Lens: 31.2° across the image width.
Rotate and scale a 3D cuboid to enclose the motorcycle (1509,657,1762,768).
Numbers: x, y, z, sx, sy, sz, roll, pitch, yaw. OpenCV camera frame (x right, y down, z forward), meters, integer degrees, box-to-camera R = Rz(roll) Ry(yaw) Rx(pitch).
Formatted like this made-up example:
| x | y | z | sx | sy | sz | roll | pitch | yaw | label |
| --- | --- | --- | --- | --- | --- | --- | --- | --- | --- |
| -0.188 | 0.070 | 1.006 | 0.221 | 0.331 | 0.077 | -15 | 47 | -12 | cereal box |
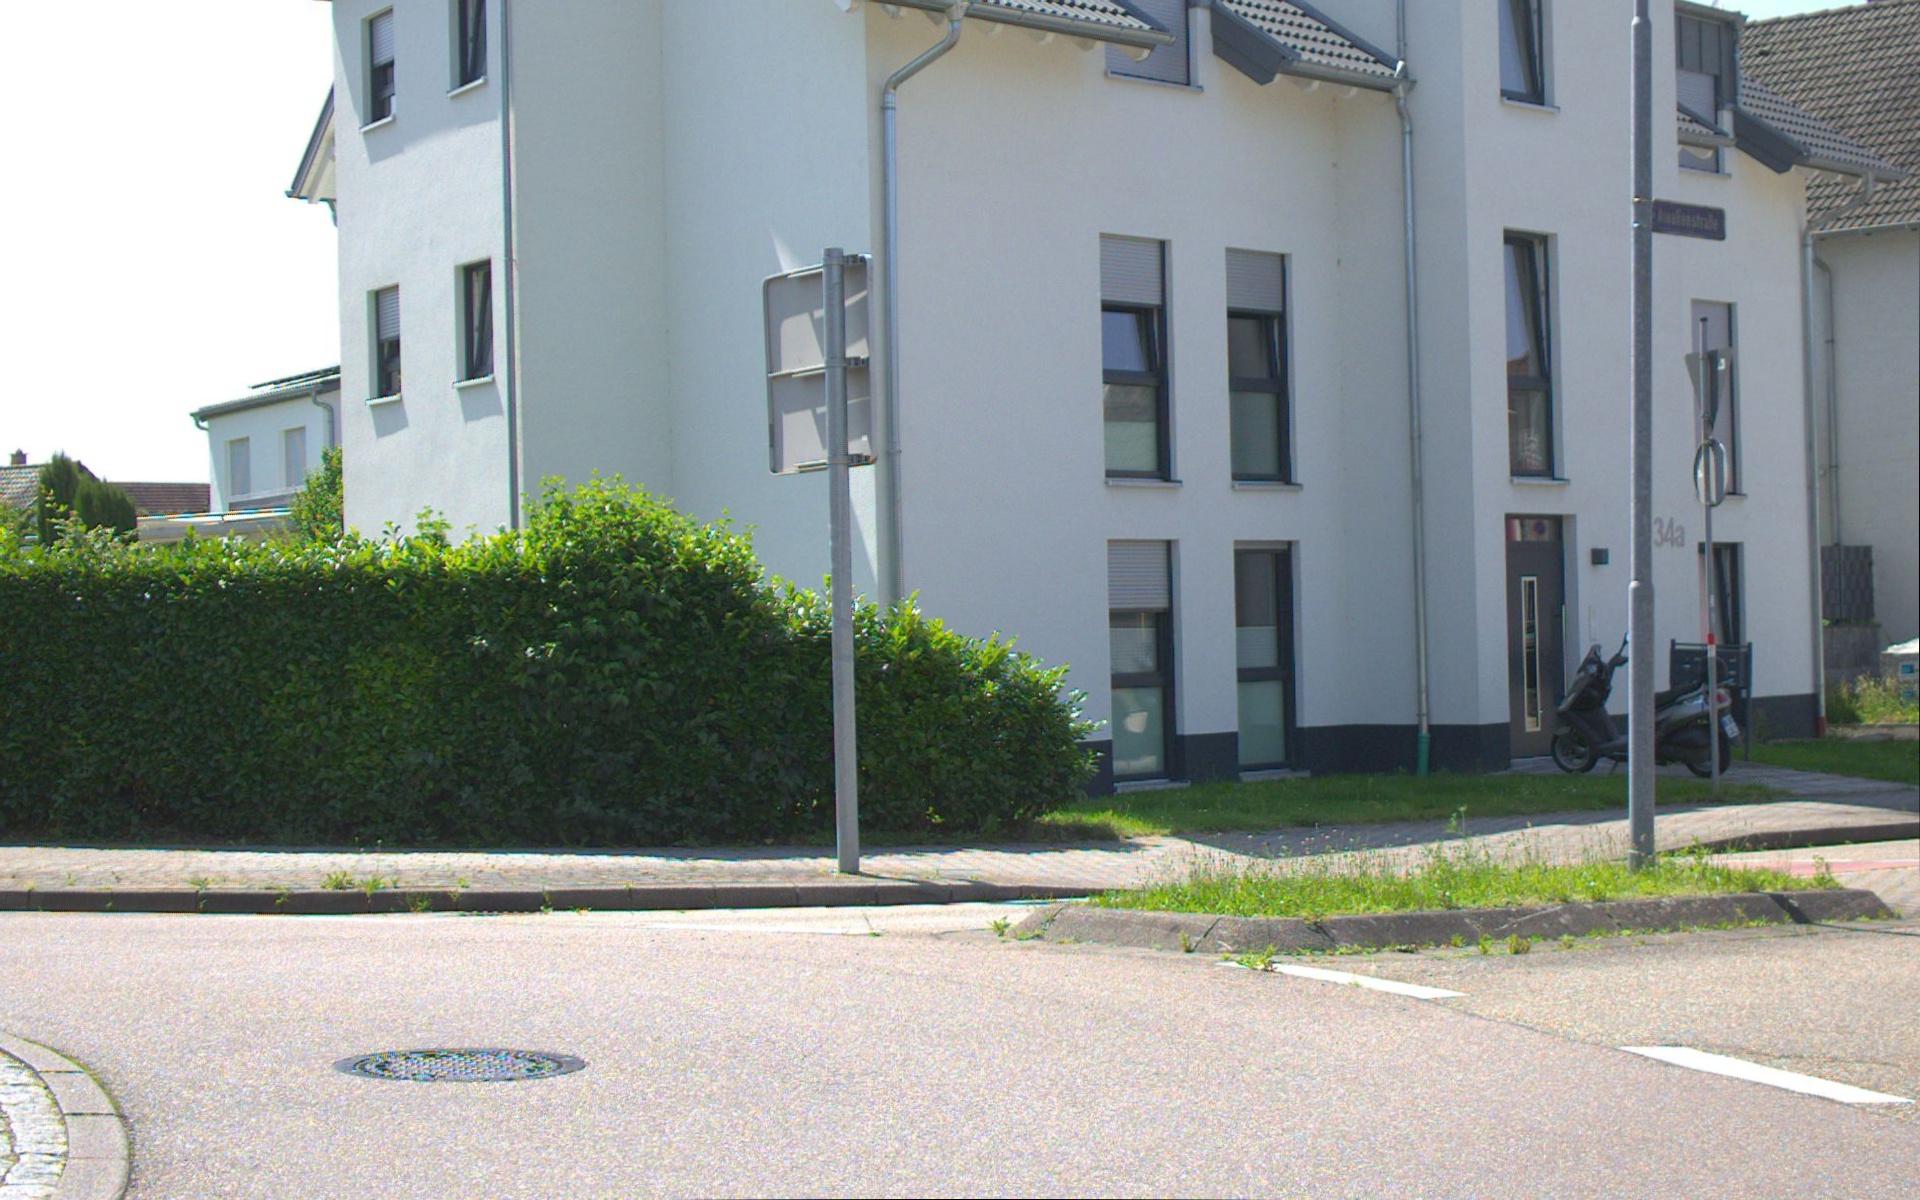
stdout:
| x | y | z | sx | sy | sz | roll | pitch | yaw | label |
| --- | --- | --- | --- | --- | --- | --- | --- | --- | --- |
| 6.351 | 1.052 | 32.431 | 2.367 | 1.010 | 0.670 | -1 | -2 | 45 | motorcycle |
